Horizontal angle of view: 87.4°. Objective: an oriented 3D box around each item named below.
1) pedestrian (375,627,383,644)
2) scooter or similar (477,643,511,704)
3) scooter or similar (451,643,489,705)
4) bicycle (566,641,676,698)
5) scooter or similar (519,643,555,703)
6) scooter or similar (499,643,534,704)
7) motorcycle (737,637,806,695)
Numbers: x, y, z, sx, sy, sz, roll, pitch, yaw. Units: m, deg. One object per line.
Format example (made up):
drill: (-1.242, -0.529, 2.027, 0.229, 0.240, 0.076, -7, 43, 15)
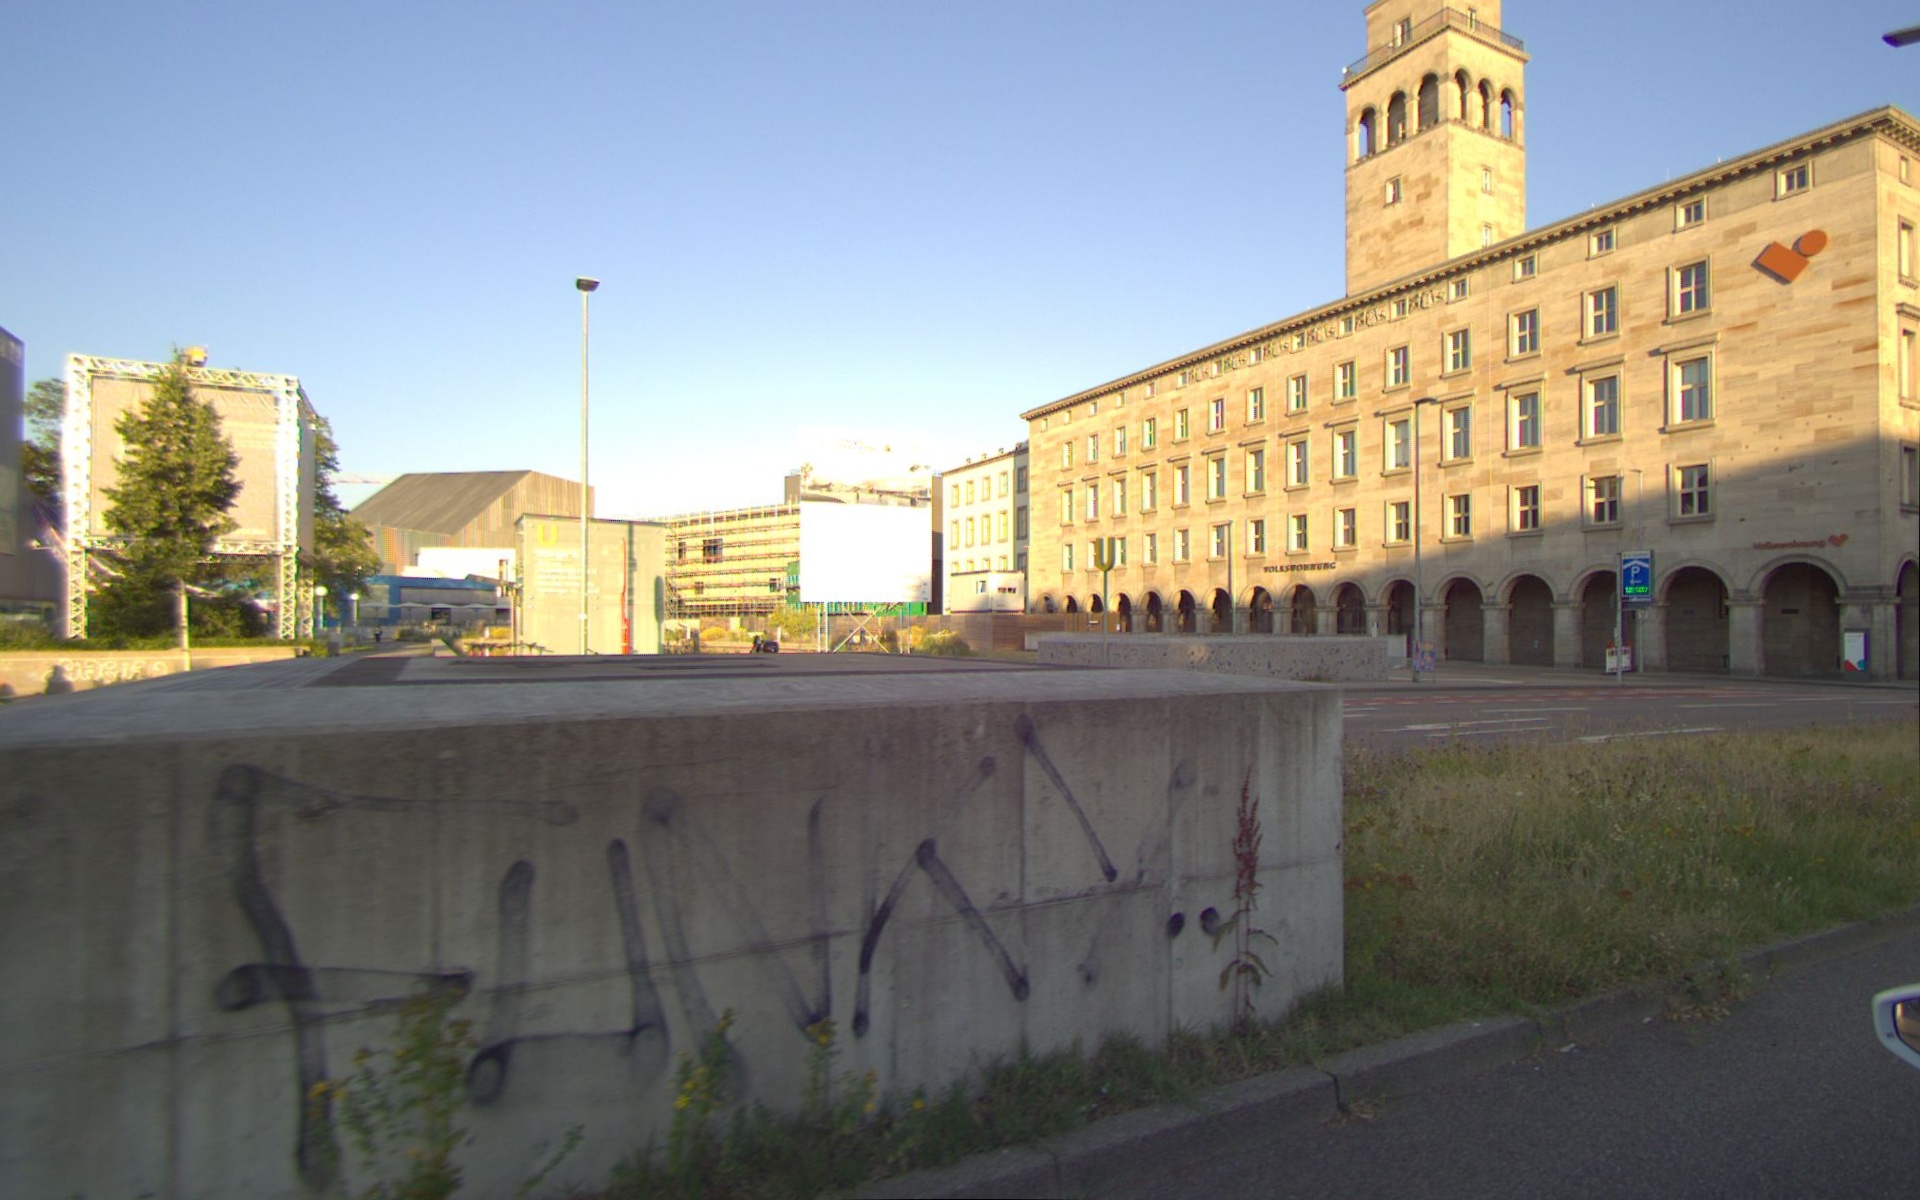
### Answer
pedestrian: (-50.705, 3.107, 87.641, 0.568, 1.426, 0.381, -1, -2, 41)
scooter or similar: (-10.710, 1.670, 23.060, 0.413, 1.322, 1.776, 1, -2, -34)
scooter or similar: (-11.112, 1.651, 22.753, 0.495, 1.322, 1.847, 1, -2, -34)
bicycle: (-8.300, 1.690, 24.684, 2.480, 1.341, 0.614, 1, -2, -31)
scooter or similar: (-9.945, 1.680, 23.567, 0.419, 1.322, 1.824, 1, -2, -34)
scooter or similar: (-10.308, 1.675, 23.321, 0.419, 1.322, 1.819, 1, -2, -34)
motorcycle: (-5.164, 1.754, 27.349, 0.830, 1.401, 3.217, 1, -1, -30)
